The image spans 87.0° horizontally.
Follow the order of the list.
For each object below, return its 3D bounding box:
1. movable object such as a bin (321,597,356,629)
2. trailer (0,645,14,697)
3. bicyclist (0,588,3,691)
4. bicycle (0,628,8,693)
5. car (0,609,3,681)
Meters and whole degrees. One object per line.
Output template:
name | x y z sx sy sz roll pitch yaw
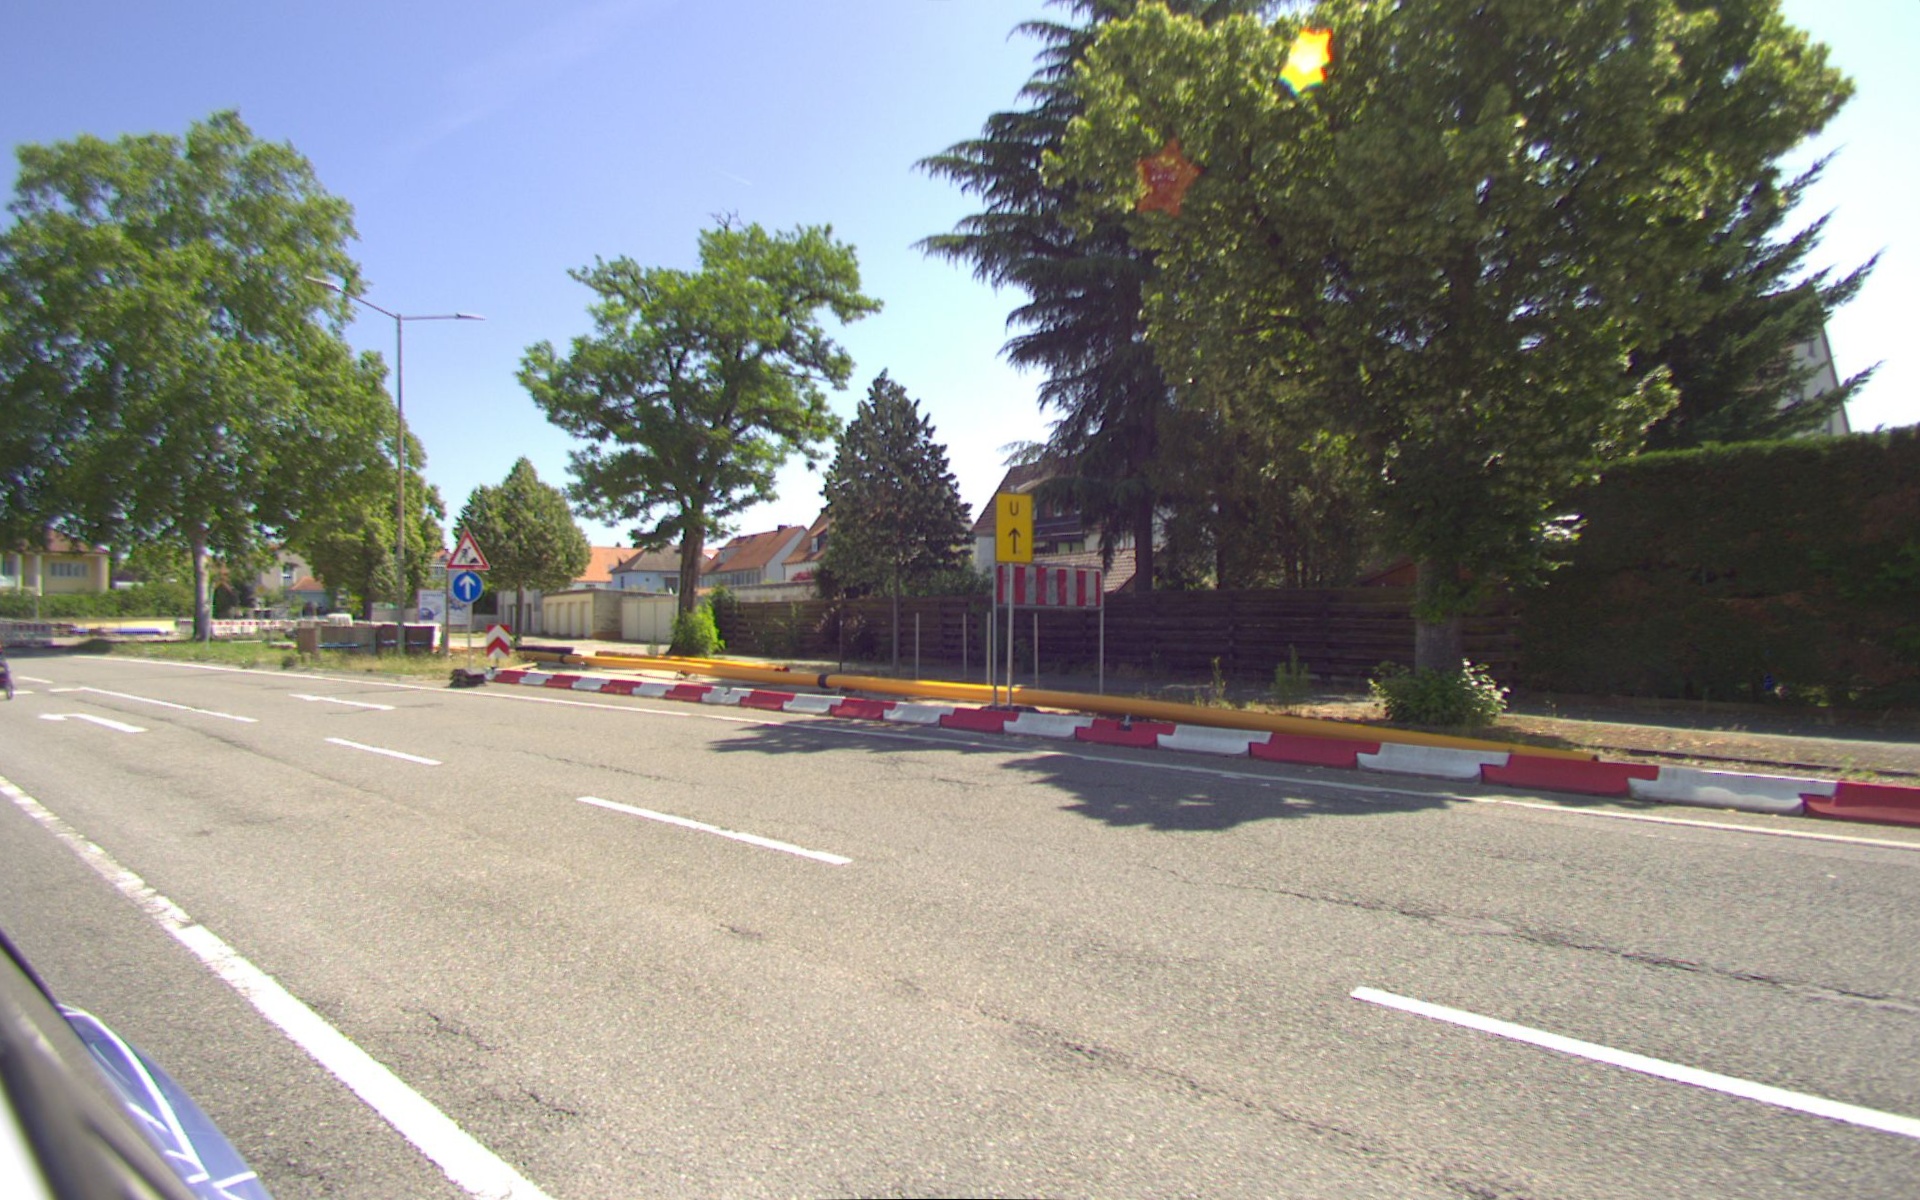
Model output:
movable object such as a bin | -54.858 1.125 89.295 2.241 2.756 3.938 0 -1 -38
trailer | -17.011 1.241 17.647 1.130 0.862 0.565 -1 -1 37
bicyclist | -18.211 0.738 18.531 0.975 1.879 0.838 -1 0 37
bicycle | -18.265 1.106 18.574 1.974 1.175 0.842 -1 0 37
car | -22.582 1.006 22.071 3.820 1.544 1.711 -1 1 34
